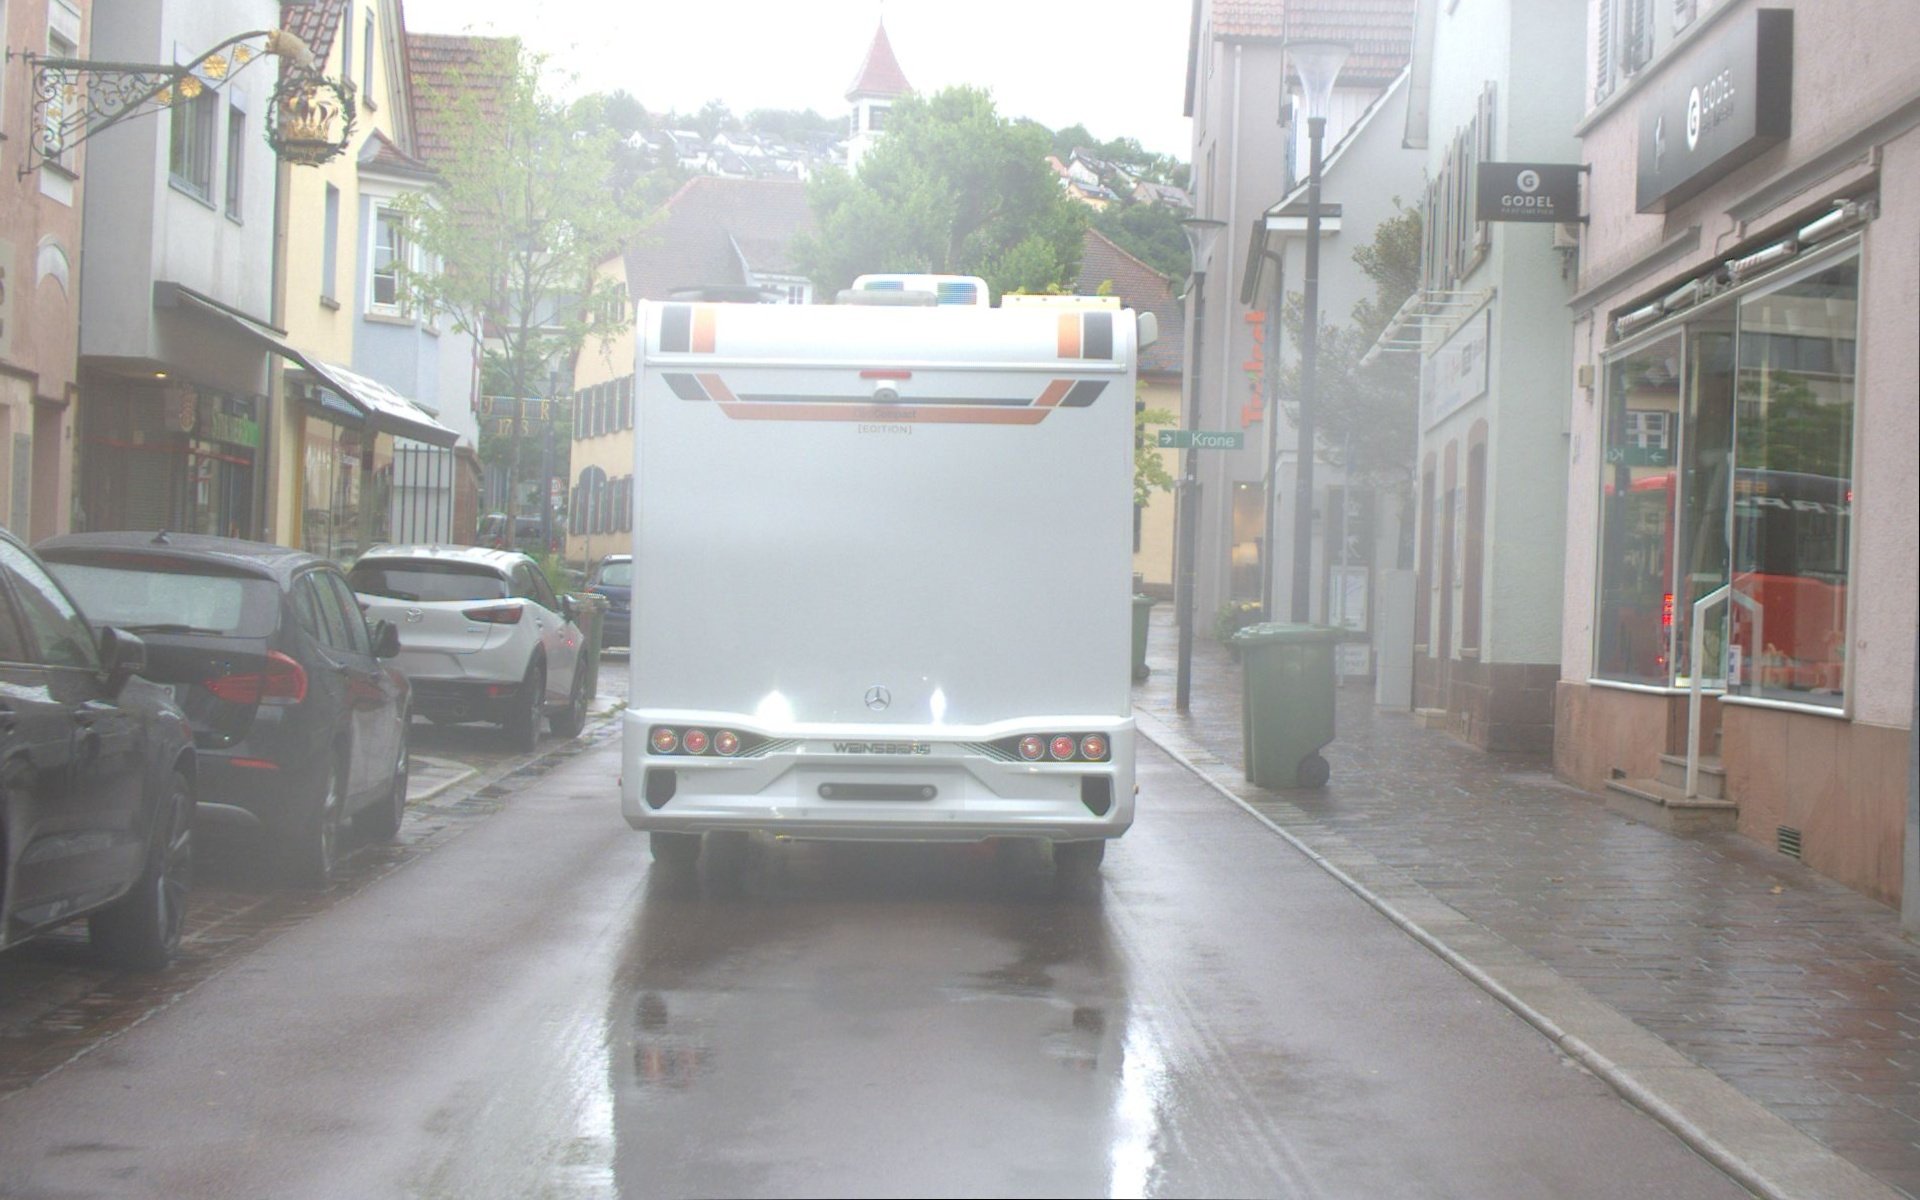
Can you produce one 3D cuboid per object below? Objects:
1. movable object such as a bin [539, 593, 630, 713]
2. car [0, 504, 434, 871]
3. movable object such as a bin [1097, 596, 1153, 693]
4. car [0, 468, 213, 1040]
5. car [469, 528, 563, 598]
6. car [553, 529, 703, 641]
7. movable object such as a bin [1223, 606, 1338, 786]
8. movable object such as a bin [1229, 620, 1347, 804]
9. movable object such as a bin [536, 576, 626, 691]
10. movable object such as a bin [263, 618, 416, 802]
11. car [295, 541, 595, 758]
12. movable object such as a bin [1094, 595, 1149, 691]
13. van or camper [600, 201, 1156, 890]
[{"bbox_3d":[-3.543,0.500,32.508,0.814,1.102,0.610,1,-1,-5],"label":"movable object such as a bin"},{"bbox_3d":[-3.802,0.385,16.919,1.833,1.546,4.282,1,0,-1],"label":"car"},{"bbox_3d":[2.145,0.576,44.664,0.658,1.234,0.621,1,-1,-1],"label":"movable object such as a bin"},{"bbox_3d":[-3.723,0.438,10.783,1.833,1.669,4.540,1,0,-1],"label":"car"},{"bbox_3d":[-13.292,-1.081,102.743,1.993,2.007,4.001,2,-1,-19],"label":"car"},{"bbox_3d":[-4.780,-0.231,49.359,1.993,1.467,4.001,2,1,-6],"label":"car"},{"bbox_3d":[2.187,0.653,23.536,0.718,1.197,0.578,1,-1,1],"label":"movable object such as a bin"},{"bbox_3d":[2.181,0.738,22.927,0.718,1.197,0.573,1,-1,1],"label":"movable object such as a bin"},{"bbox_3d":[-3.857,0.344,35.071,0.815,1.102,0.610,5,-1,-5],"label":"movable object such as a bin"},{"bbox_3d":[-3.779,0.662,20.981,0.747,1.079,0.763,1,-1,2],"label":"movable object such as a bin"},{"bbox_3d":[-4.033,0.383,27.514,1.827,1.561,4.000,1,0,-1],"label":"car"},{"bbox_3d":[2.126,0.563,45.251,0.658,1.241,0.543,1,-1,-1],"label":"movable object such as a bin"},{"bbox_3d":[-0.529,-0.208,17.992,2.325,2.909,6.393,1,0,-3],"label":"van or camper"}]
